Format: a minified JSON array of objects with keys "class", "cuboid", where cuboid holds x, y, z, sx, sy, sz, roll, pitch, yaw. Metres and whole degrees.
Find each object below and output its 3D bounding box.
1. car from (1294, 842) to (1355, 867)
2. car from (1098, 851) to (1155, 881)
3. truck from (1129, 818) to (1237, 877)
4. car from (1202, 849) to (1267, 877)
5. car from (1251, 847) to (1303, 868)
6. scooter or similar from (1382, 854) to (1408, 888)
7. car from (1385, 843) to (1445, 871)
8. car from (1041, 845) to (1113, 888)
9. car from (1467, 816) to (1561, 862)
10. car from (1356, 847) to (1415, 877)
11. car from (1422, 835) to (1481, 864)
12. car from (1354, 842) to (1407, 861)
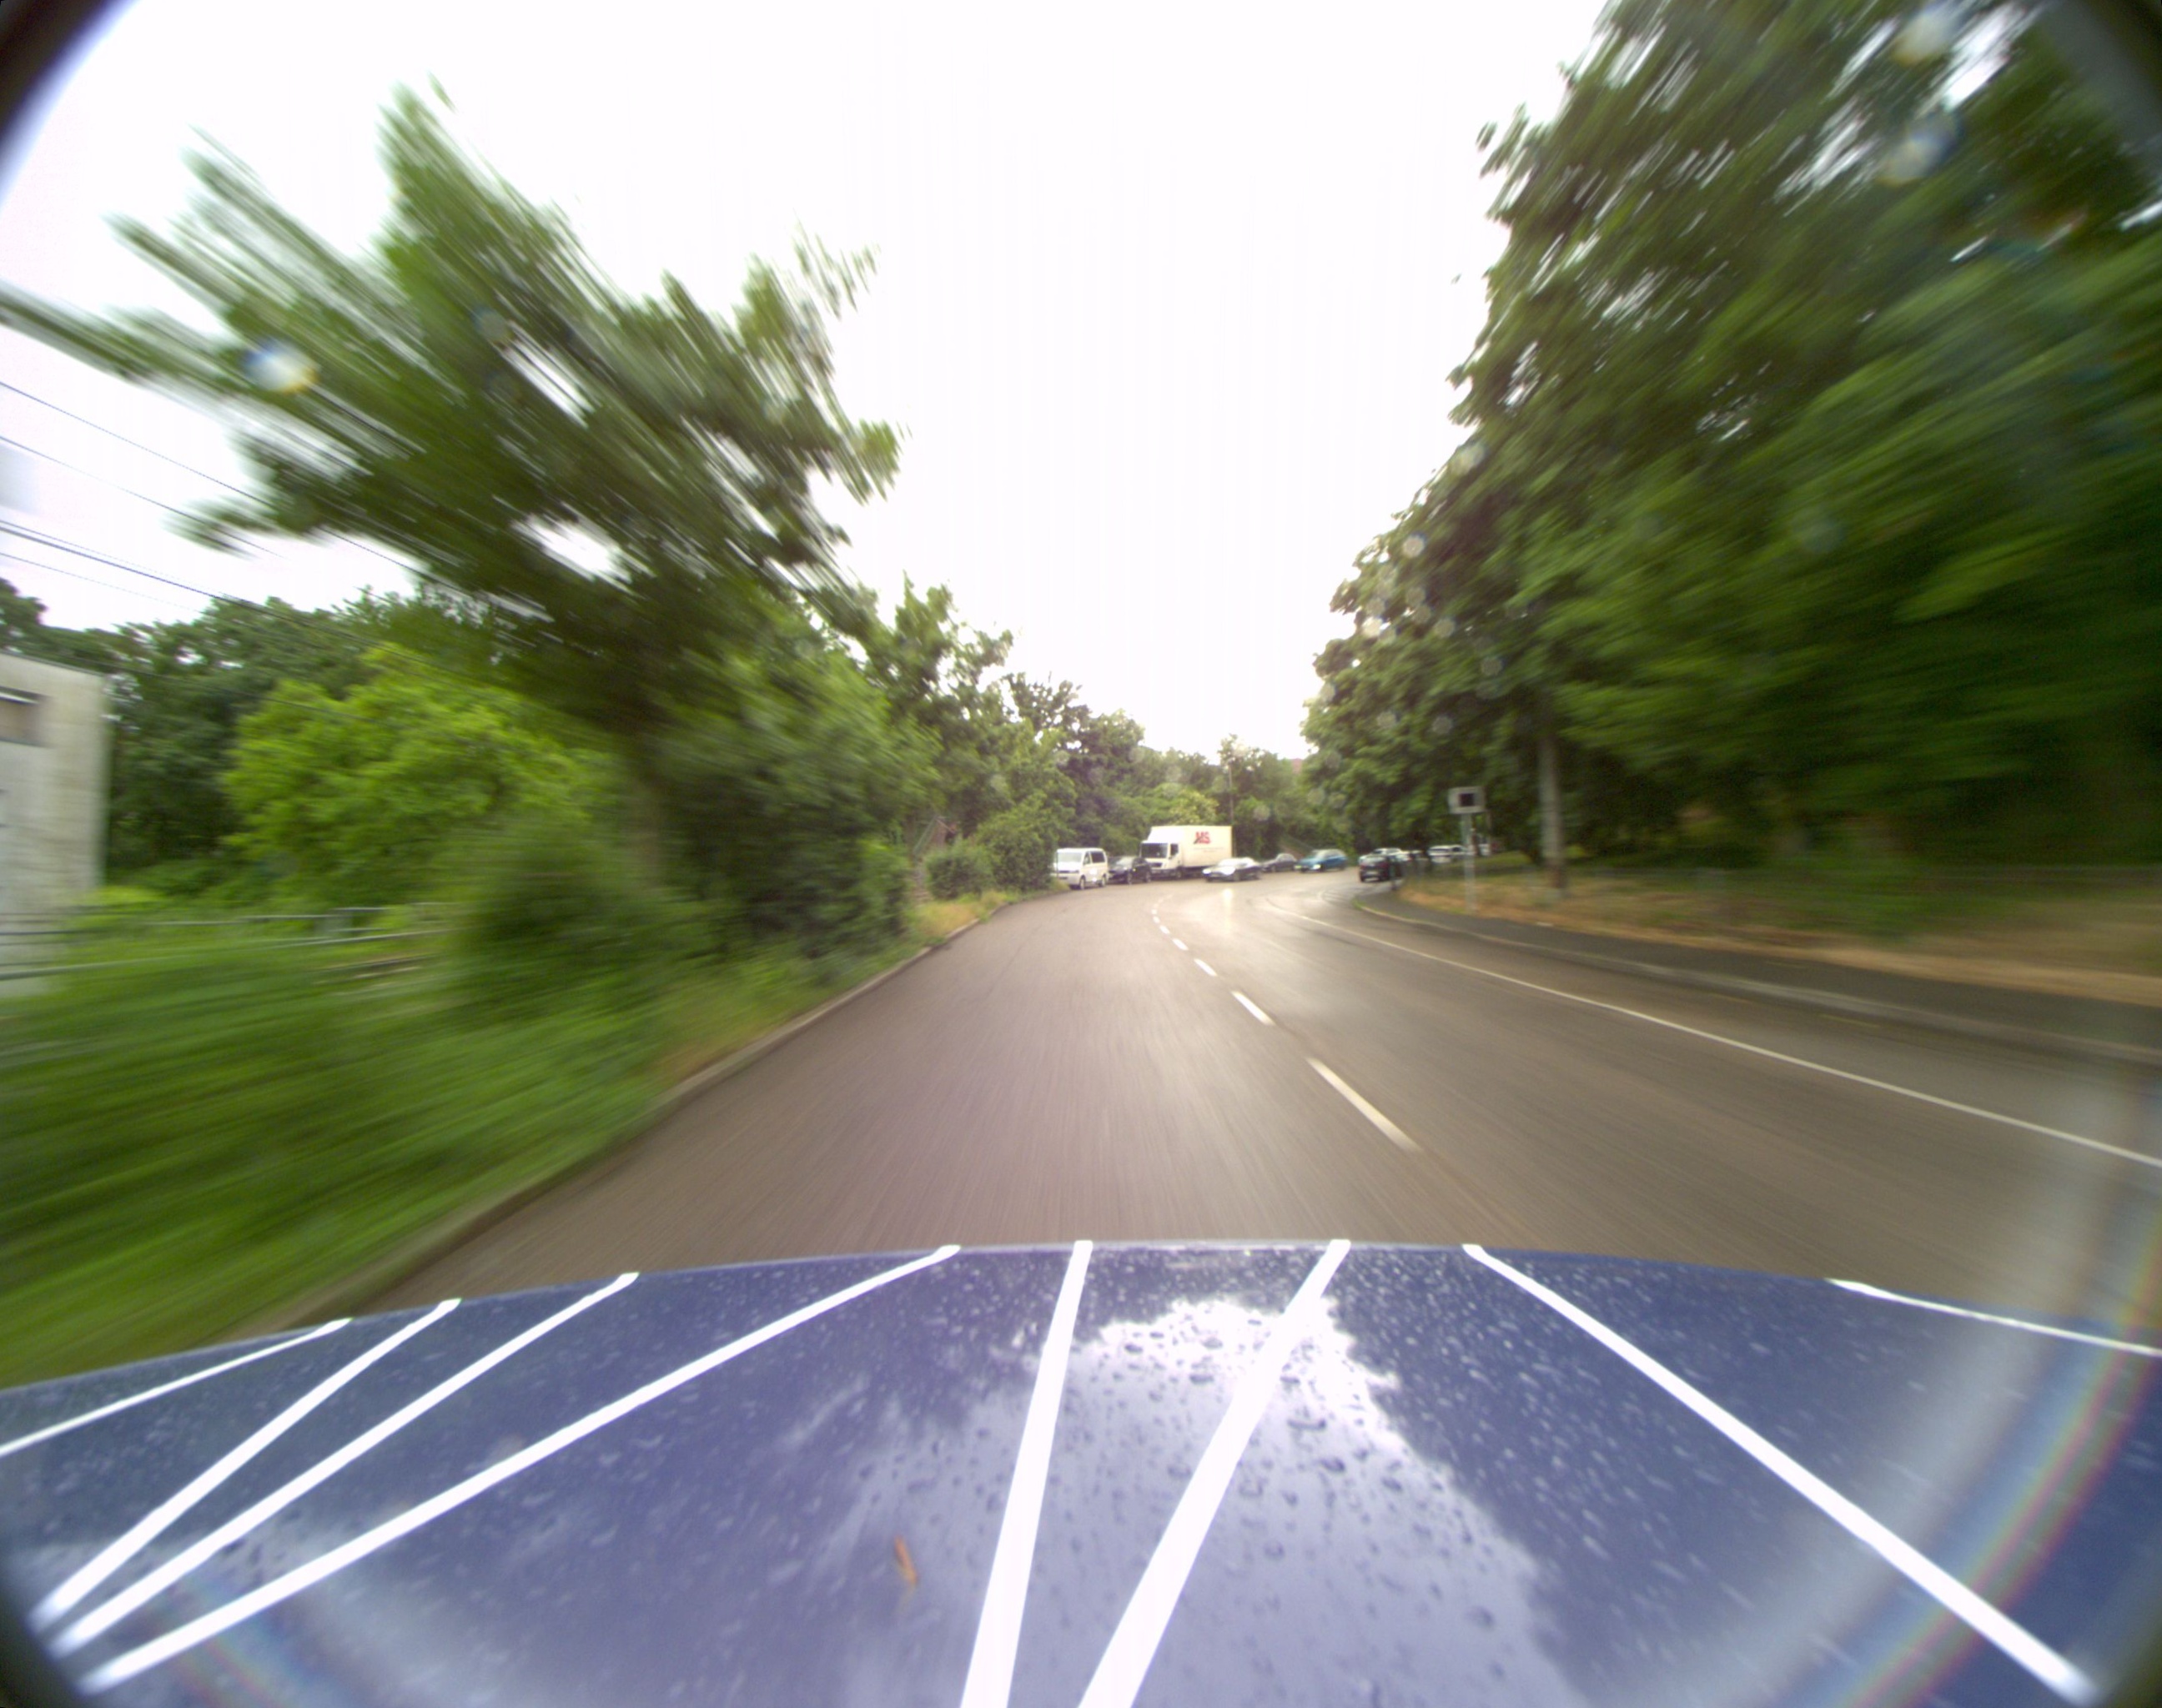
[{"class":"car","cuboid":[17.594,0.045,54.805,4.539,1.660,1.995,-1,0,-39]},{"class":"car","cuboid":[2.668,0.643,43.594,1.719,1.547,4.284,0,1,27]},{"class":"truck","cuboid":[6.856,-0.502,49.908,3.008,3.553,8.352,-2,1,39]},{"class":"car","cuboid":[9.310,0.514,45.893,1.895,1.530,4.509,-2,0,40]},{"class":"car","cuboid":[15.016,0.276,58.059,4.132,1.435,1.721,-2,0,-39]},{"class":"scooter or similar","cuboid":[12.878,0.700,31.162,0.608,1.260,1.440,-6,-1,34]},{"class":"car","cuboid":[20.006,0.153,45.447,4.054,1.448,1.753,-3,1,-42]},{"class":"car","cuboid":[-0.123,0.537,37.741,1.878,2.002,4.698,1,1,22]},{"class":"car","cuboid":[29.883,-1.097,52.378,6.353,2.539,2.073,-4,11,-24]},{"class":"car","cuboid":[16.716,0.406,41.613,1.774,1.434,4.023,-2,1,40]},{"class":"car","cuboid":[23.770,-0.274,48.751,4.031,1.574,1.805,-5,2,-39]},{"class":"car","cuboid":[25.612,-0.215,64.959,4.100,1.392,1.758,-3,-2,-24]}]
